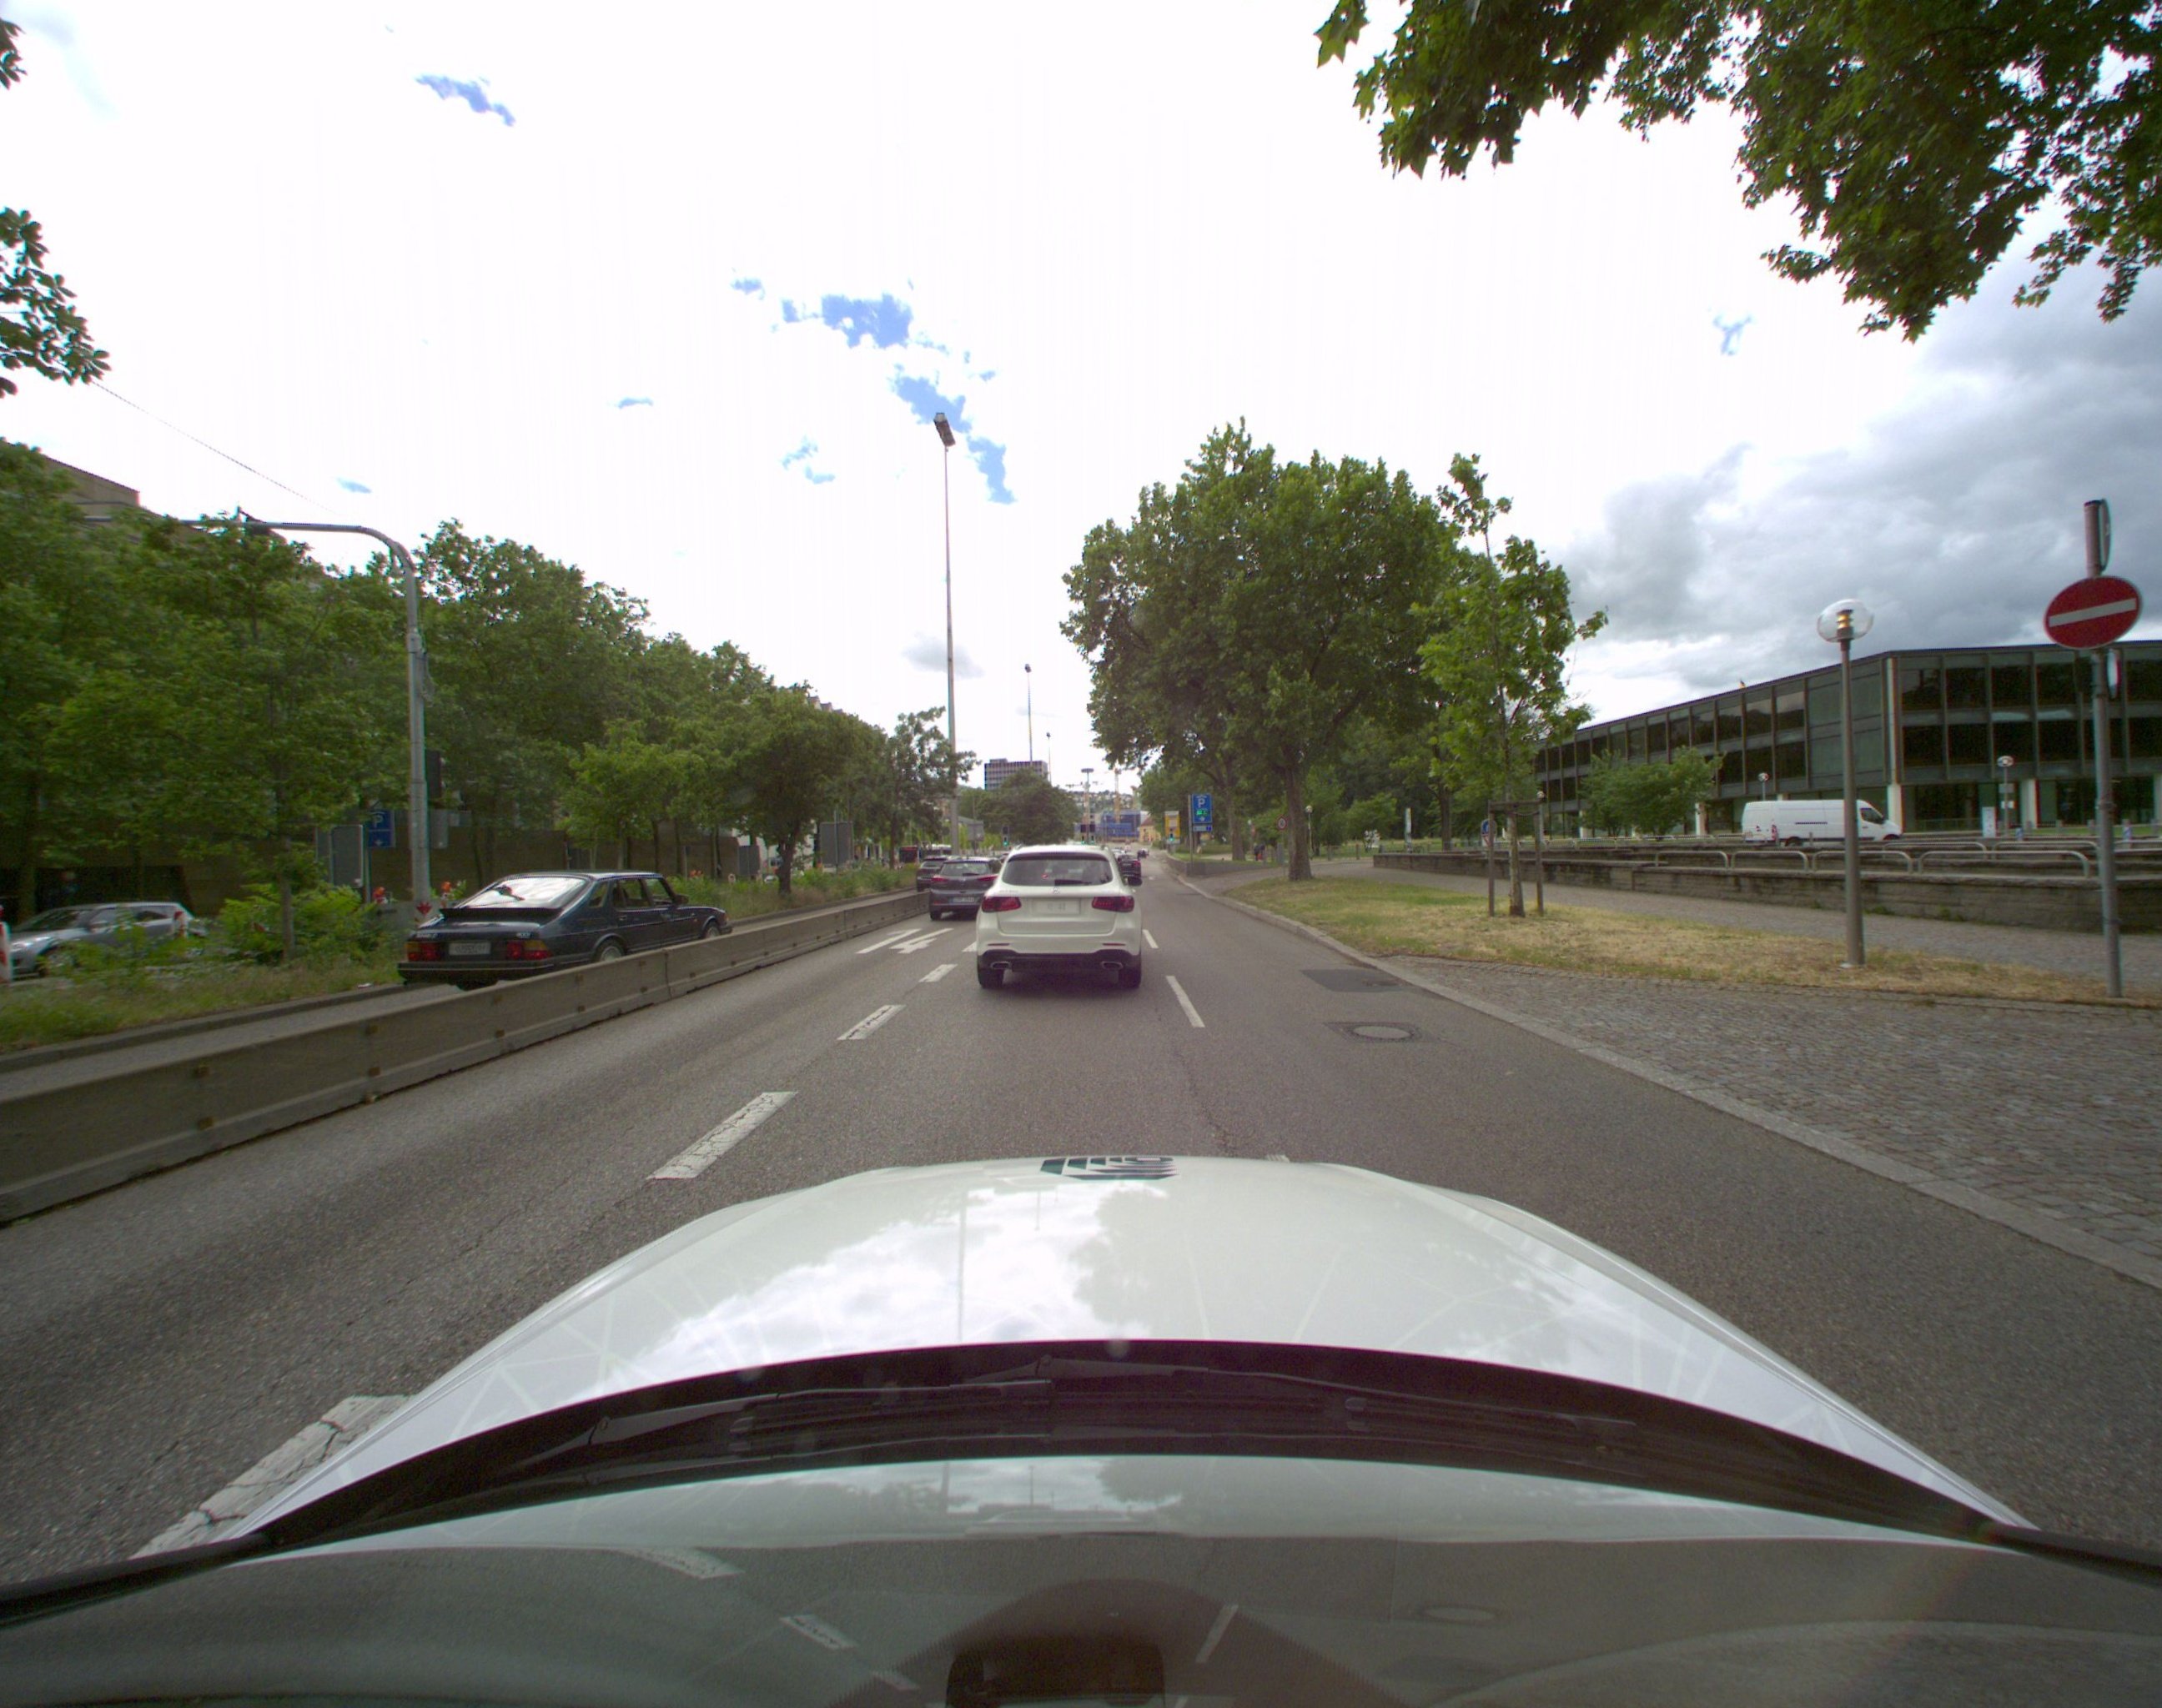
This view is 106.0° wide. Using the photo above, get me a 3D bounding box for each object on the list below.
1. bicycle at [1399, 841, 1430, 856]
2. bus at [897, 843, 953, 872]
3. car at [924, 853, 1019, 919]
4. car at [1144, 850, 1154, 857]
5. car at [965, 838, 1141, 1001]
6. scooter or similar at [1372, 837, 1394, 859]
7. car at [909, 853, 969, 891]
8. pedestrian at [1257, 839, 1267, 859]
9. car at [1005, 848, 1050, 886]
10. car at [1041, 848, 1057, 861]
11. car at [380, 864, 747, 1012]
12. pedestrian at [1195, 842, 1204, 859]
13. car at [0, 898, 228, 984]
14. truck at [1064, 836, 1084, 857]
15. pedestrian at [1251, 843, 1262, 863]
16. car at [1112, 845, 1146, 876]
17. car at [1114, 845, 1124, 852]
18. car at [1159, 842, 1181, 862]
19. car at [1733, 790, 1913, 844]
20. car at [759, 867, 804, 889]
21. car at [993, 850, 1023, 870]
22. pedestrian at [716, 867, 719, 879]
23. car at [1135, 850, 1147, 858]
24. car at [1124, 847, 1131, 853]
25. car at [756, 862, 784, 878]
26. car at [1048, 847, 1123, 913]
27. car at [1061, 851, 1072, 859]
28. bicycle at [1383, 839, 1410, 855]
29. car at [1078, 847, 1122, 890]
[{"bbox_3d":[22.227,-0.334,54.365,0.950,0.975,2.787,0,0,1],"label":"bicycle"},{"bbox_3d":[-18.980,0.387,100.310,3.654,3.205,14.279,-2,0,2],"label":"bus"},{"bbox_3d":[-2.604,0.725,20.312,1.792,1.437,4.020,-1,0,0],"label":"car"},{"bbox_3d":[14.303,-0.071,170.910,1.939,1.319,4.019,-1,0,3],"label":"car"},{"bbox_3d":[-0.167,0.663,10.535,1.780,1.625,4.441,1,0,3],"label":"car"},{"bbox_3d":[17.891,-0.330,48.241,0.633,1.245,2.228,0,0,4],"label":"scooter or similar"},{"bbox_3d":[-5.751,0.701,33.434,1.655,1.436,3.961,-1,0,1],"label":"car"},{"bbox_3d":[15.687,-0.412,70.617,0.754,1.724,0.701,-2,0,9],"label":"pedestrian"},{"bbox_3d":[-2.460,0.596,38.481,1.846,1.628,4.905,-1,0,-1],"label":"car"},{"bbox_3d":[-3.868,0.033,99.713,1.653,1.513,3.549,-2,0,2],"label":"car"},{"bbox_3d":[-6.115,0.867,10.428,1.672,1.367,4.544,-2,0,1],"label":"car"},{"bbox_3d":[13.651,-0.408,93.640,0.752,2.013,0.703,-2,0,37],"label":"pedestrian"},{"bbox_3d":[-21.892,1.841,17.964,1.842,1.458,4.001,-2,0,1],"label":"car"},{"bbox_3d":[-0.893,-1.032,112.621,2.612,2.861,7.079,0,0,1],"label":"truck"},{"bbox_3d":[14.557,-0.082,67.456,0.662,1.610,0.637,-2,0,-17],"label":"pedestrian"},{"bbox_3d":[2.832,0.368,48.550,1.818,1.752,4.001,-2,0,1],"label":"car"},{"bbox_3d":[7.603,-1.032,161.853,1.939,1.319,4.019,-1,0,3],"label":"car"},{"bbox_3d":[9.495,-0.203,87.181,1.985,2.013,4.003,-1,0,3],"label":"car"},{"bbox_3d":[34.739,-1.704,38.288,6.082,2.260,2.403,-2,0,3],"label":"car"},{"bbox_3d":[-21.175,1.661,57.641,1.654,1.383,3.804,-2,0,1],"label":"car"},{"bbox_3d":[-5.548,0.408,62.244,1.769,1.420,4.001,-2,0,1],"label":"car"},{"bbox_3d":[-32.501,1.700,72.831,0.214,1.078,0.257,0,-1,-16],"label":"pedestrian"},{"bbox_3d":[10.322,0.018,141.117,1.939,1.428,4.019,-1,0,3],"label":"car"},{"bbox_3d":[12.954,-1.138,225.773,1.752,1.669,4.170,-2,0,2],"label":"car"},{"bbox_3d":[-41.160,2.086,107.799,1.986,1.914,4.001,-2,0,1],"label":"car"},{"bbox_3d":[0.030,0.649,22.149,1.792,1.608,3.750,-2,0,-3],"label":"car"},{"bbox_3d":[-2.483,0.099,139.644,1.652,1.319,3.550,-1,0,3],"label":"car"},{"bbox_3d":[20.952,-0.441,54.199,0.950,1.063,2.336,0,0,1],"label":"bicycle"},{"bbox_3d":[0.738,0.584,34.075,1.654,1.639,3.545,-2,0,-1],"label":"car"}]
